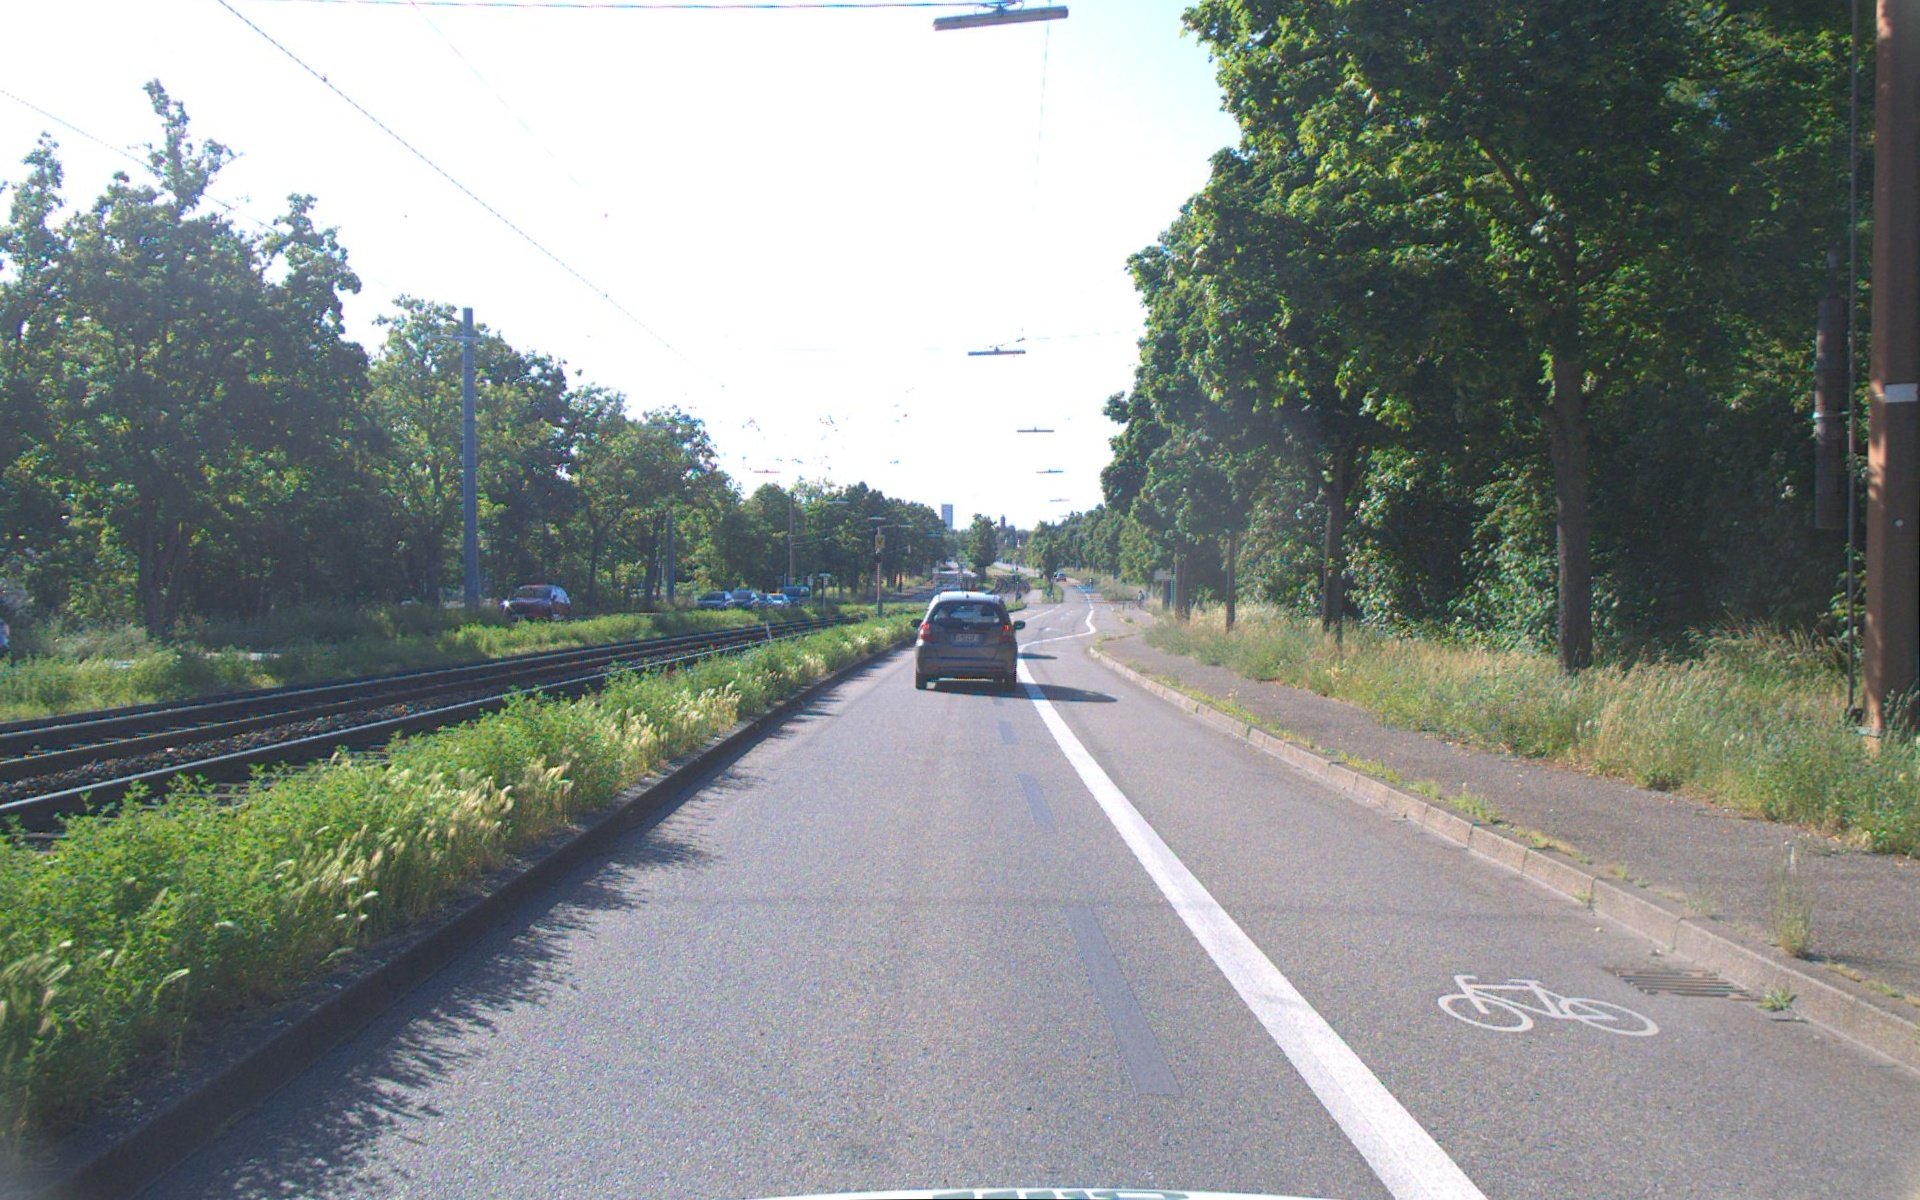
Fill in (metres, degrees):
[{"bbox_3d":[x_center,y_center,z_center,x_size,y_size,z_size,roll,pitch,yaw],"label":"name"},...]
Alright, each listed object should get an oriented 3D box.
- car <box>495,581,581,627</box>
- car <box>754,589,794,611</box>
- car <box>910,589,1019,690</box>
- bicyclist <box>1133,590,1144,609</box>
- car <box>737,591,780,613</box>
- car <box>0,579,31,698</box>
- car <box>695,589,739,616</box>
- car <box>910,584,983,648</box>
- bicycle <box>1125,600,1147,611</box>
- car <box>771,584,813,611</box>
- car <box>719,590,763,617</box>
[{"bbox_3d":[-16.606,0.133,65.291,1.962,1.732,4.469,1,0,3],"label":"car"},{"bbox_3d":[-13.230,-0.015,117.923,1.887,1.462,4.698,1,1,5],"label":"car"},{"bbox_3d":[0.086,0.609,27.908,1.672,1.535,4.000,1,0,0],"label":"car"},{"bbox_3d":[16.820,-0.083,156.210,0.891,1.775,0.765,-1,0,16],"label":"bicyclist"},{"bbox_3d":[-13.628,0.128,112.060,1.951,1.462,4.417,1,1,5],"label":"car"},{"bbox_3d":[-13.008,0.486,19.634,1.675,1.505,4.000,1,0,0],"label":"car"},{"bbox_3d":[-14.554,0.164,99.188,1.699,1.520,4.329,2,0,3],"label":"car"},{"bbox_3d":[-0.309,0.394,44.509,1.812,1.634,4.255,1,0,1],"label":"car"},{"bbox_3d":[16.631,0.517,156.264,1.879,1.015,0.765,-2,-1,16],"label":"bicycle"},{"bbox_3d":[-12.613,-0.194,124.268,2.150,1.924,4.795,1,1,7],"label":"car"},{"bbox_3d":[-14.023,0.208,105.990,1.952,1.602,4.437,1,1,3],"label":"car"}]
